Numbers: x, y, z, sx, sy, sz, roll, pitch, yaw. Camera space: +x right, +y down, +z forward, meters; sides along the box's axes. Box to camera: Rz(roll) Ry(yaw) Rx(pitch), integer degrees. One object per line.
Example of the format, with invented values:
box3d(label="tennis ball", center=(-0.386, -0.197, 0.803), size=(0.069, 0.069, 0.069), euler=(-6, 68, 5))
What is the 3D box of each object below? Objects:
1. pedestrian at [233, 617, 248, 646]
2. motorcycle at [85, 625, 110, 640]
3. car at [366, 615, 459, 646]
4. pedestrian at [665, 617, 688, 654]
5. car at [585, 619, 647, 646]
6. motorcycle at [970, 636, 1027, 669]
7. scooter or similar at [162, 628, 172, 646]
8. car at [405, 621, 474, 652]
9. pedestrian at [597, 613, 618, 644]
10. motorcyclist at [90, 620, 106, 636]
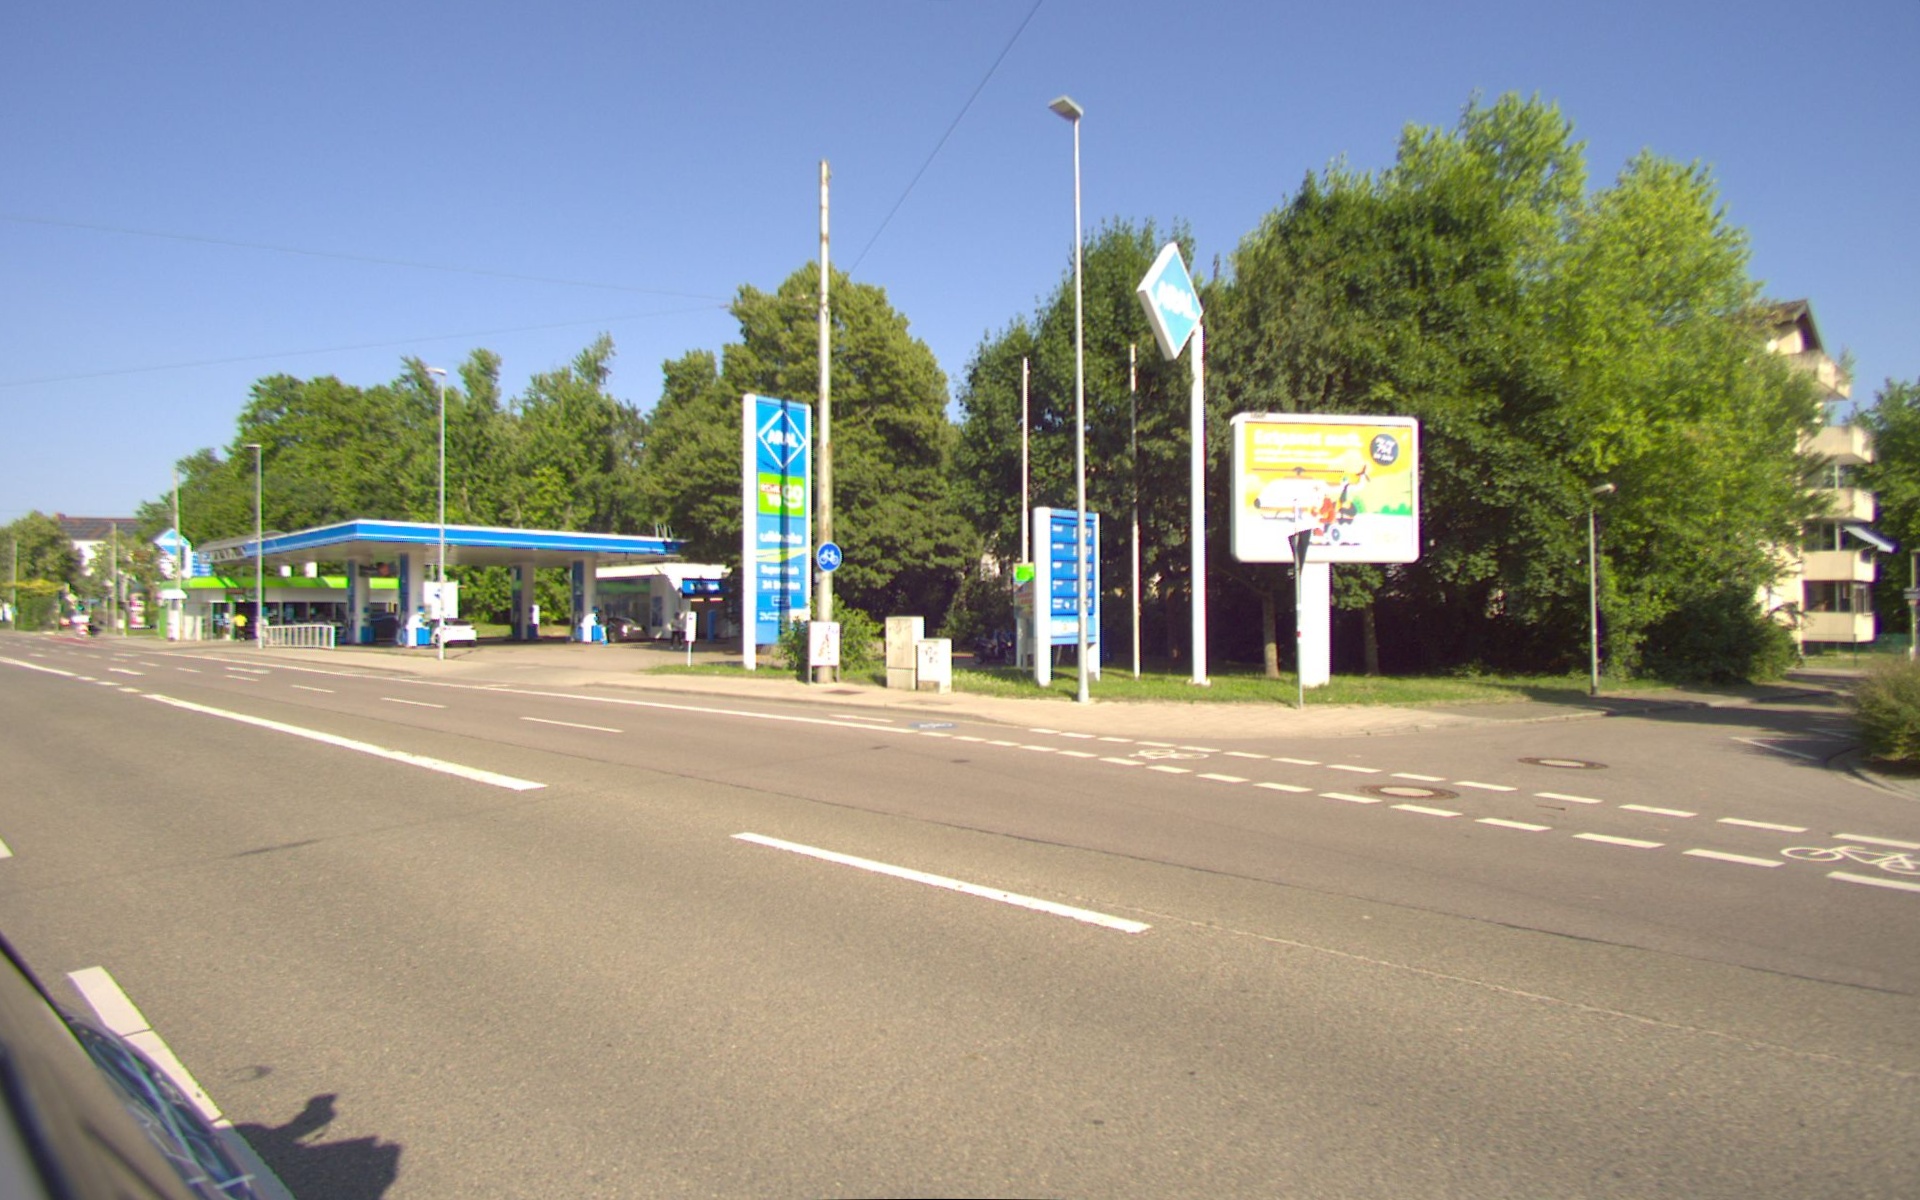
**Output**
box3d(label="pedestrian", center=(-44.603, 1.947, 62.740), size=(0.594, 1.744, 0.665), euler=(0, -2, -21))
box3d(label="motorcycle", center=(-74.434, 2.792, 87.379), size=(0.722, 1.237, 2.270), euler=(0, -1, -15))
box3d(label="car", center=(-35.617, 1.941, 65.893), size=(5.012, 1.955, 1.858), euler=(1, -2, -45))
box3d(label="pedestrian", center=(-13.569, 1.687, 48.393), size=(0.810, 1.726, 1.069), euler=(1, -1, -32))
box3d(label="car", center=(-19.553, 1.824, 57.439), size=(4.001, 1.457, 1.717), euler=(-1, -2, 44))
box3d(label="motorcycle", center=(1.185, 1.621, 31.608), size=(1.904, 0.989, 0.512), euler=(-1, -2, 41))
box3d(label="scooter or similar", center=(-51.842, 2.392, 66.149), size=(1.144, 1.169, 0.345), euler=(-1, -2, 43))
box3d(label="car", center=(-26.271, 1.823, 51.030), size=(4.273, 1.502, 1.718), euler=(-1, -2, 42))
box3d(label="pedestrian", center=(-19.673, 1.594, 56.467), size=(0.795, 1.703, 0.807), euler=(-1, -2, 41))
box3d(label="motorcyclist", center=(-74.438, 2.404, 87.380), size=(0.722, 1.399, 0.867), euler=(0, -1, -15))
